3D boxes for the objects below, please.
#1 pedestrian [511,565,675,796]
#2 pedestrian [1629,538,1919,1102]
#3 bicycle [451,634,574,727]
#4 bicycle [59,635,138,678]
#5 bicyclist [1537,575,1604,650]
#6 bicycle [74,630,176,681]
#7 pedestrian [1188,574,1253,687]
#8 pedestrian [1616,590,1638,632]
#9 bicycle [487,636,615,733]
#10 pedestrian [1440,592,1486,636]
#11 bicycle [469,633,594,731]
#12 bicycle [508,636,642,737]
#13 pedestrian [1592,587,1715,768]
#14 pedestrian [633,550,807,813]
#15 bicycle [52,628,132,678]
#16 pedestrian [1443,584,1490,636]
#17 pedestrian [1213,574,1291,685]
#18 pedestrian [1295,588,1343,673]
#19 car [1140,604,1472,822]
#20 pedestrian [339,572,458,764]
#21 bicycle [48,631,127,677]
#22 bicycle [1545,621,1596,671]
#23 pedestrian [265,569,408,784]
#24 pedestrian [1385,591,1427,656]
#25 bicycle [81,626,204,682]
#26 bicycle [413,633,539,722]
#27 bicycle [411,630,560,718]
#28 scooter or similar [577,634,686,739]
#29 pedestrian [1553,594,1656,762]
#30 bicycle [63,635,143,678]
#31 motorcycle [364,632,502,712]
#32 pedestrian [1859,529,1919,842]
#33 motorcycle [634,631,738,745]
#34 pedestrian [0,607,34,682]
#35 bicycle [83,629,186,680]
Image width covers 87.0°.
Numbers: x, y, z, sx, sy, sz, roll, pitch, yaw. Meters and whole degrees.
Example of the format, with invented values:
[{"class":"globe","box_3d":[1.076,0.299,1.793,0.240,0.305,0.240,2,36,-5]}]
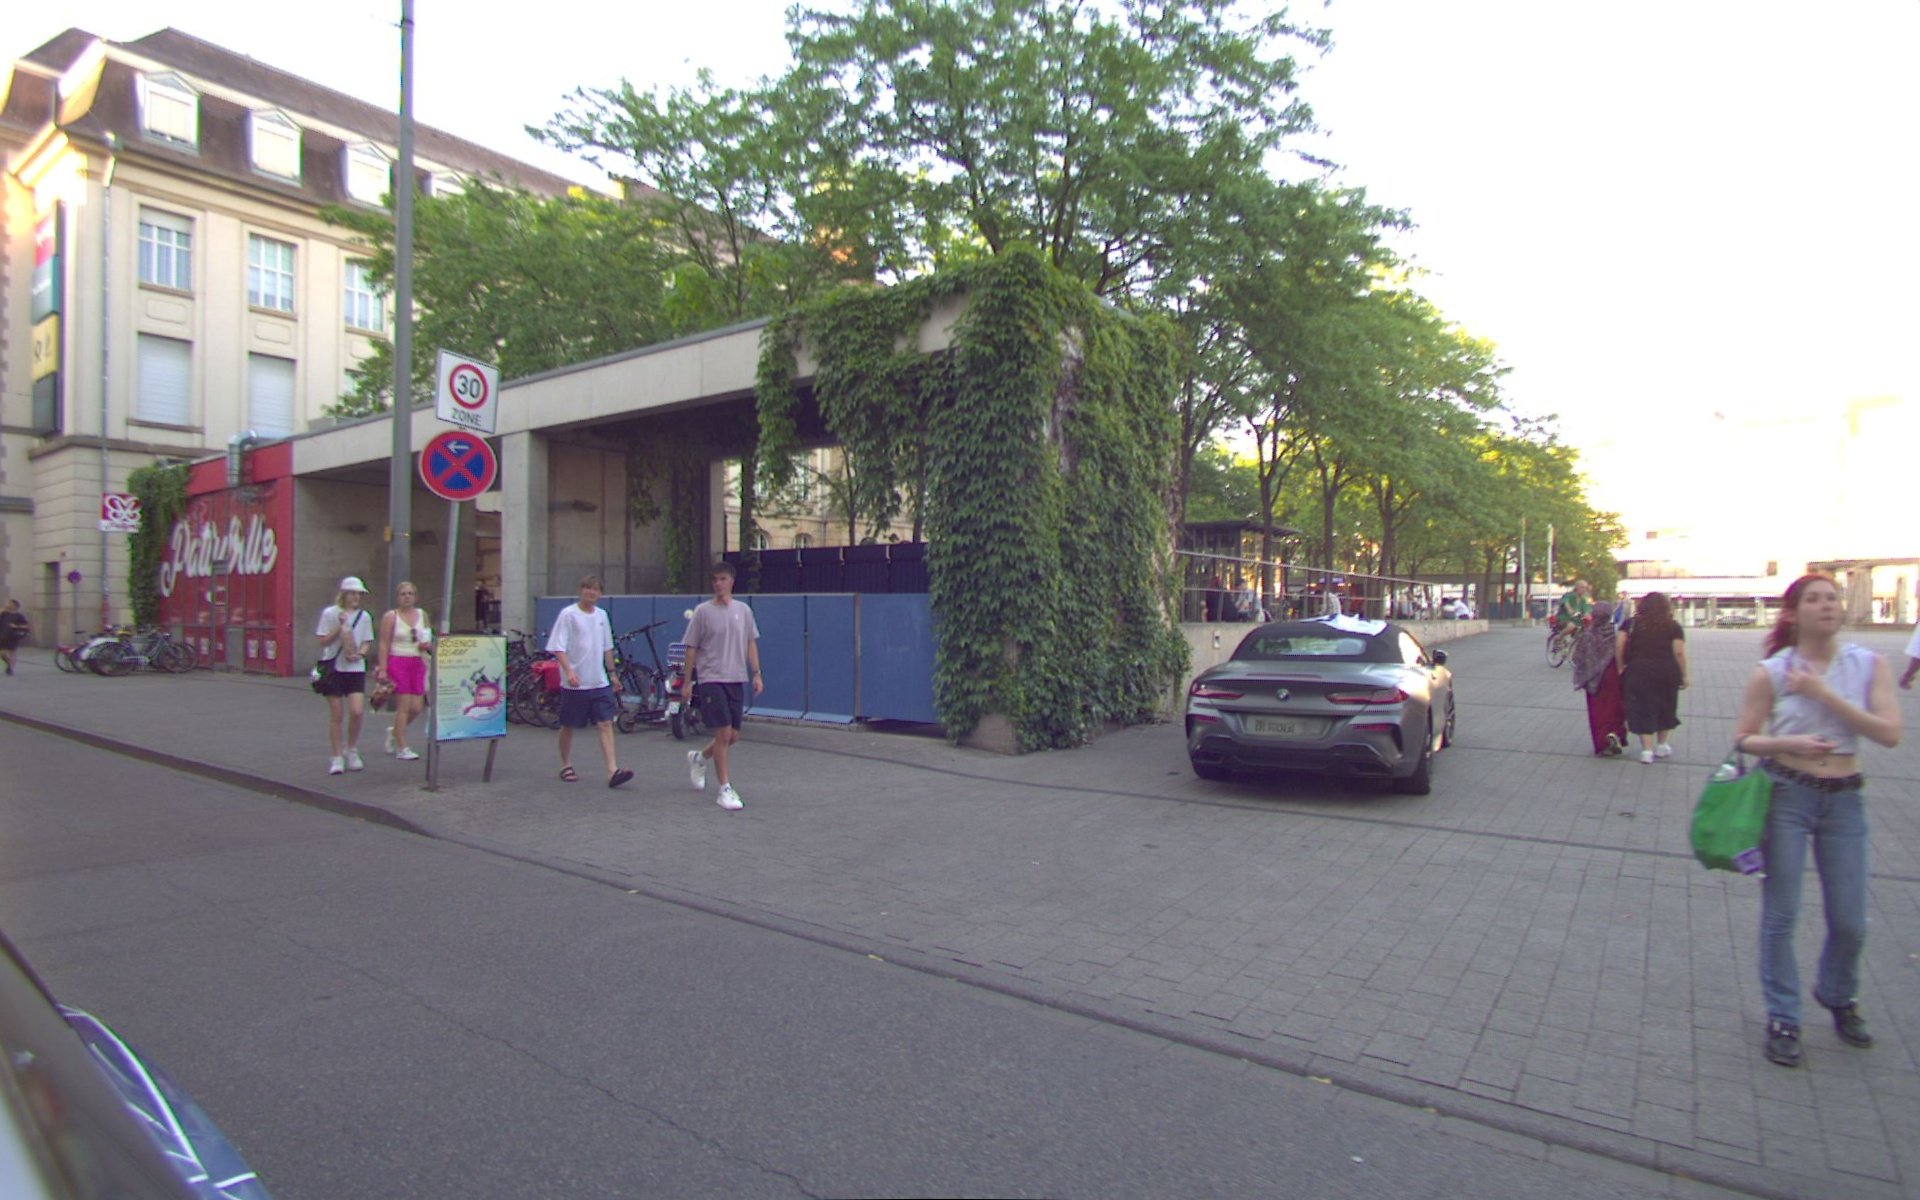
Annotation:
[{"class":"pedestrian","box_3d":[-3.099,0.629,8.572,0.889,1.807,0.972,-1,0,39]},{"class":"pedestrian","box_3d":[2.848,0.656,3.427,0.879,1.681,0.707,-1,0,29]},{"class":"bicycle","box_3d":[-5.828,1.019,13.249,0.410,1.096,1.481,-1,0,33]},{"class":"bicycle","box_3d":[-21.357,1.382,25.115,0.311,0.986,1.487,-1,0,28]},{"class":"bicyclist","box_3d":[11.753,0.243,19.473,1.010,1.400,0.691,-1,-1,39]},{"class":"bicycle","box_3d":[-19.583,1.273,23.769,0.354,1.091,1.820,-1,0,42]},{"class":"pedestrian","box_3d":[4.284,0.482,16.632,0.797,1.795,0.752,0,-1,38]},{"class":"pedestrian","box_3d":[31.659,0.513,48.021,0.726,1.963,0.798,0,-1,24]},{"class":"bicycle","box_3d":[-5.050,1.017,12.582,0.441,1.077,1.481,-1,0,33]},{"class":"pedestrian","box_3d":[16.120,0.442,32.439,1.264,1.390,0.729,-1,-1,33]},{"class":"bicycle","box_3d":[-5.387,0.999,12.795,0.410,1.120,1.481,-1,0,33]},{"class":"bicycle","box_3d":[-4.662,1.015,12.326,0.546,1.096,1.481,-1,0,33]},{"class":"pedestrian","box_3d":[6.483,0.685,9.462,0.719,1.594,0.800,-1,0,-44]},{"class":"pedestrian","box_3d":[-1.885,0.589,7.974,0.889,1.898,0.972,-1,0,39]},{"class":"bicycle","box_3d":[-21.647,1.309,25.261,0.311,1.149,1.487,-1,0,28]},{"class":"pedestrian","box_3d":[16.476,0.321,32.916,1.264,1.660,0.700,-1,-1,34]},{"class":"pedestrian","box_3d":[5.012,0.496,17.391,1.120,1.833,0.694,-1,-1,36]},{"class":"pedestrian","box_3d":[7.493,0.622,21.101,0.802,1.740,0.616,-1,-1,35]},{"class":"car","box_3d":[3.447,0.803,9.430,2.098,1.441,4.404,-1,0,30]},{"class":"pedestrian","box_3d":[-5.582,0.637,10.071,0.736,1.807,0.802,-1,0,39]},{"class":"bicycle","box_3d":[-21.932,1.338,25.454,0.311,1.084,1.487,-1,0,28]},{"class":"bicycle","box_3d":[11.659,0.862,19.315,0.639,0.888,1.609,-1,-1,38]},{"class":"pedestrian","box_3d":[-5.614,0.643,9.113,0.868,1.807,0.841,-1,0,39]},{"class":"pedestrian","box_3d":[12.244,0.645,27.761,0.919,1.740,0.694,-1,-1,35]},{"class":"bicycle","box_3d":[-18.850,1.223,23.384,0.445,1.164,2.152,-1,0,42]},{"class":"bicycle","box_3d":[-6.535,1.017,13.706,0.436,1.096,1.476,-1,0,43]},{"class":"bicycle","box_3d":[-6.692,1.015,14.359,0.549,1.095,1.849,-1,0,38]},{"class":"scooter or similar","box_3d":[-3.830,0.982,11.897,0.408,1.096,1.488,-1,0,19]},{"class":"pedestrian","box_3d":[6.250,0.724,9.820,0.583,1.554,0.681,-1,0,-41]},{"class":"bicycle","box_3d":[-21.096,1.376,24.946,0.311,0.963,1.487,-1,0,28]},{"class":"motorcycle","box_3d":[-7.887,1.059,15.226,1.797,1.077,0.535,-1,0,-25]},{"class":"pedestrian","box_3d":[6.171,0.502,5.939,0.875,1.867,0.987,-1,0,-13]},{"class":"motorcycle","box_3d":[-3.085,0.957,11.562,0.530,1.135,1.826,-1,0,5]},{"class":"pedestrian","box_3d":[-22.622,1.044,24.111,0.821,1.740,0.922,0,-1,-42]},{"class":"bicycle","box_3d":[-19.180,1.259,23.554,0.354,1.091,1.820,-1,0,42]}]
